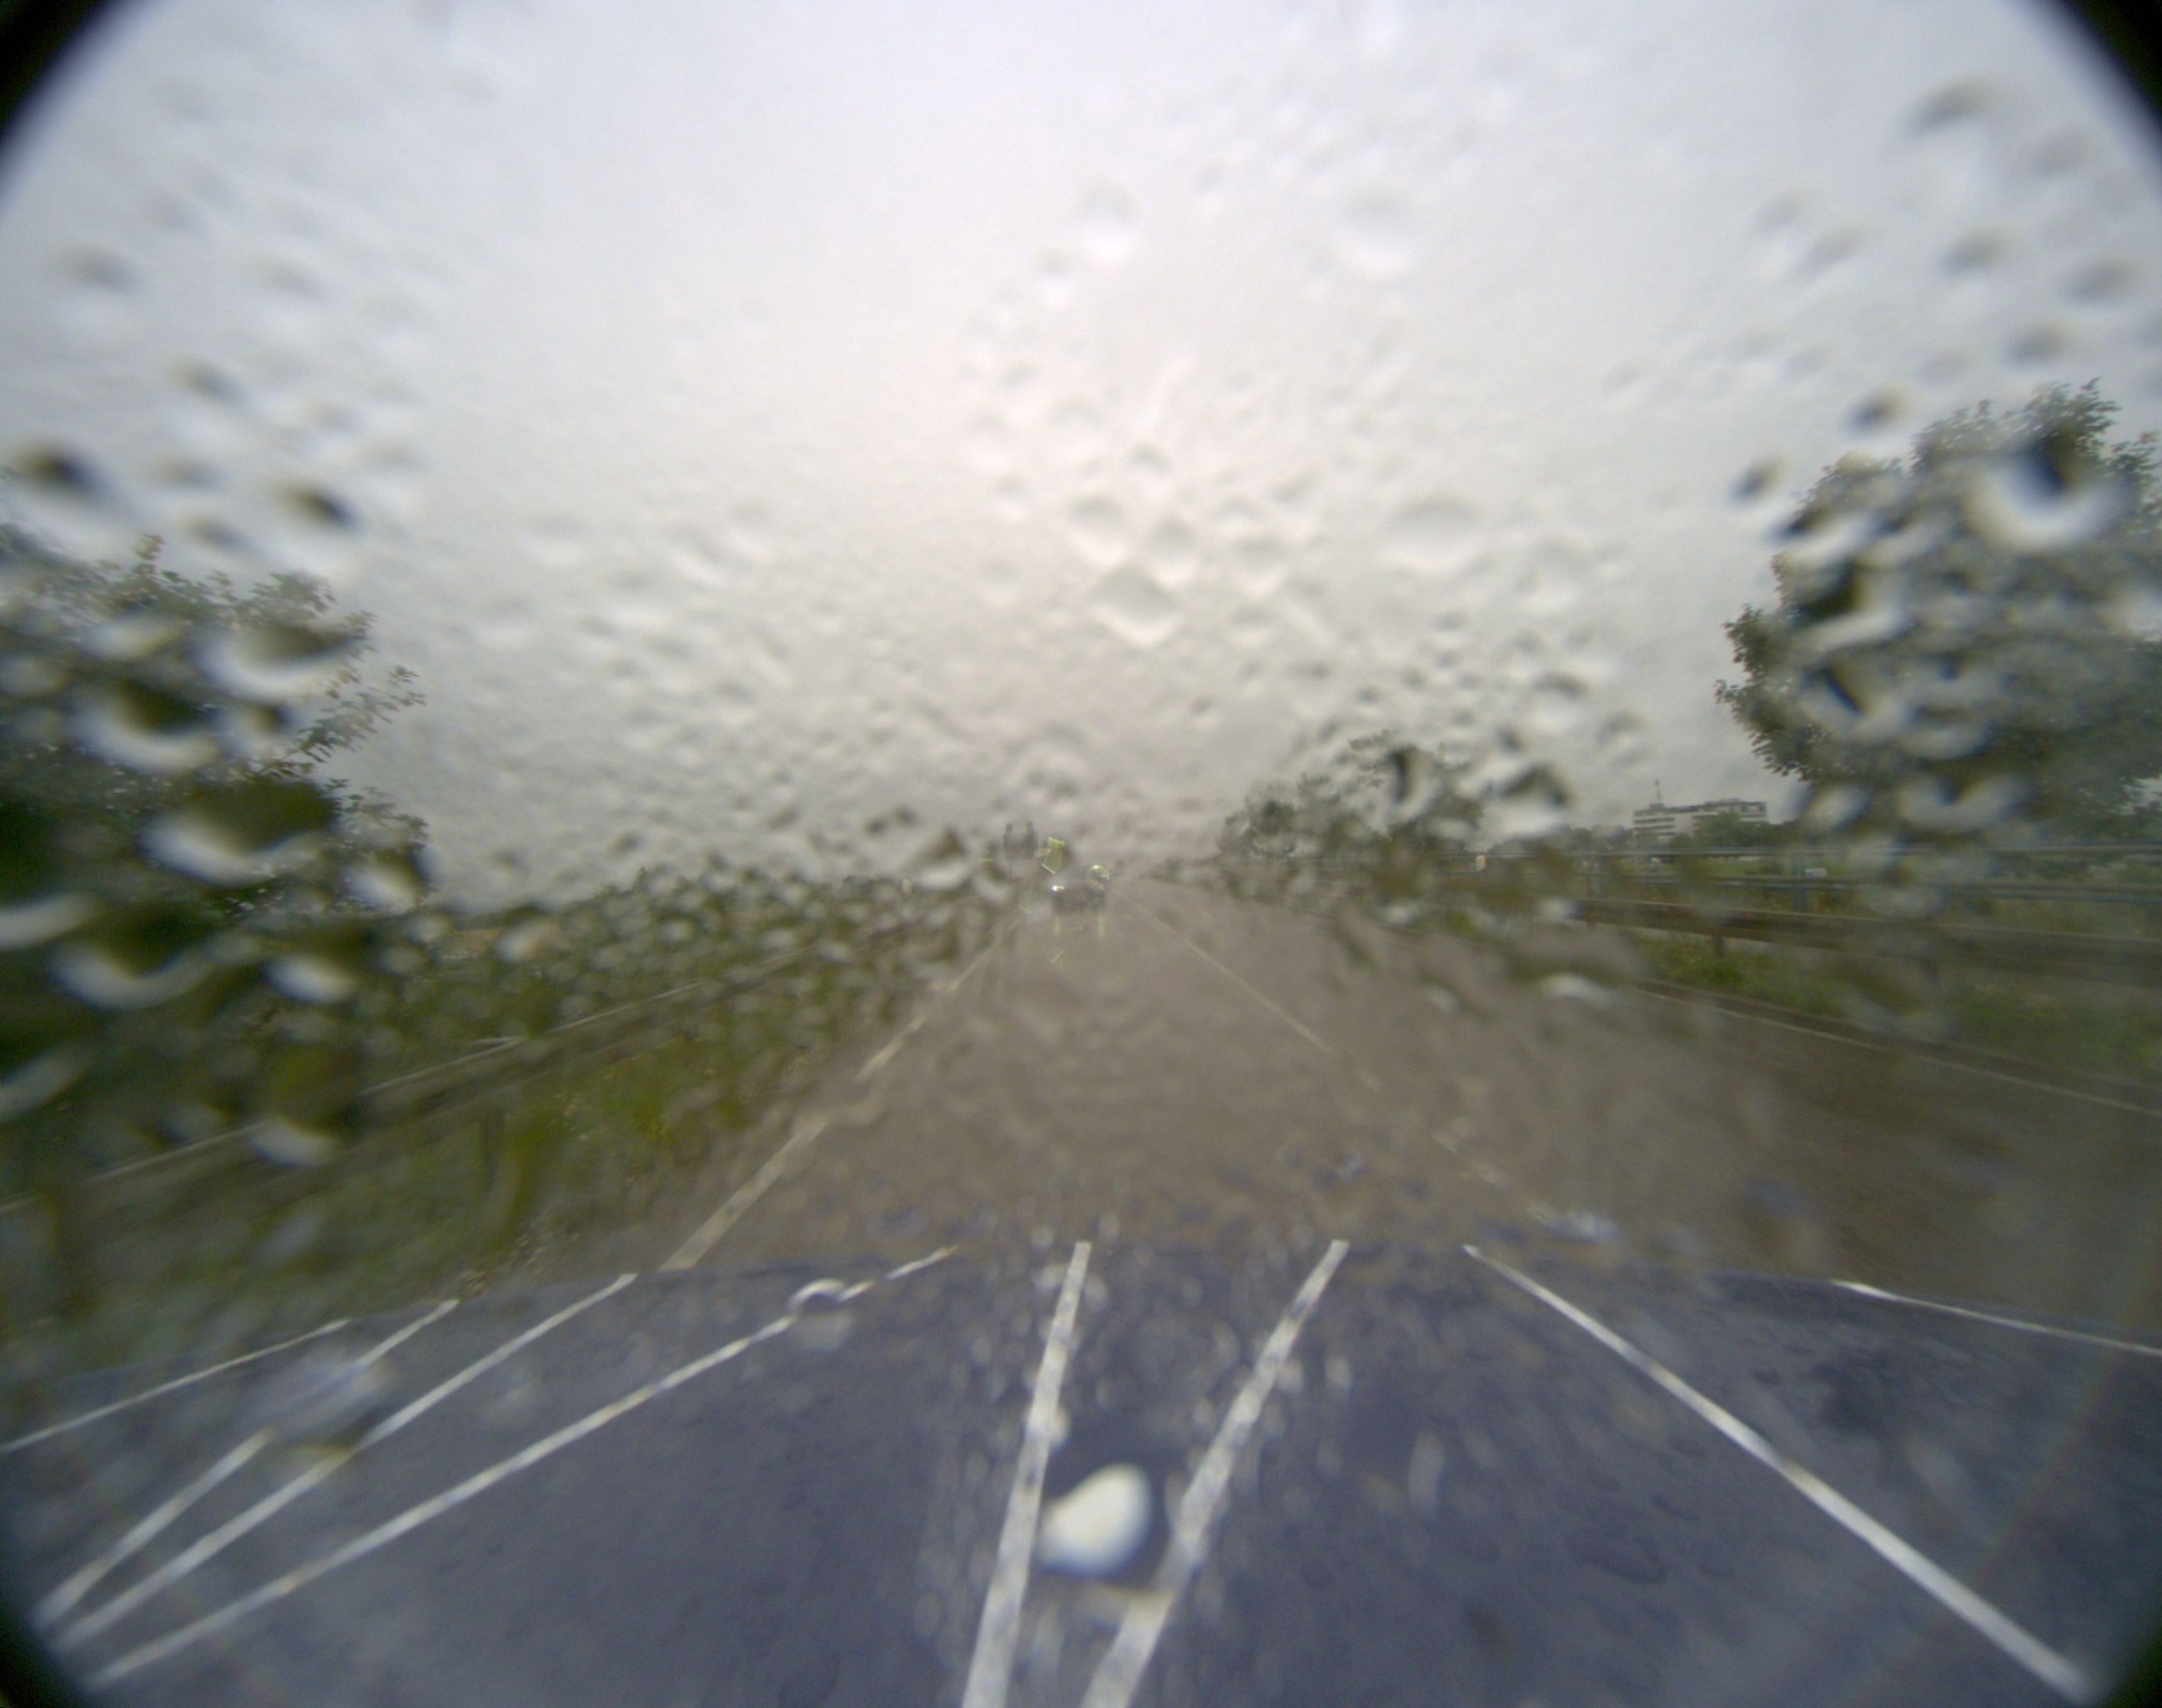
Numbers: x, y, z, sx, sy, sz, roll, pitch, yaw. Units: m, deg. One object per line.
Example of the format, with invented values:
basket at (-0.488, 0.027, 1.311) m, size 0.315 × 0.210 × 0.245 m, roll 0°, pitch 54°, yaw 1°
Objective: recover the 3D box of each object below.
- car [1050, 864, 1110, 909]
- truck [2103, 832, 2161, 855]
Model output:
car at (-0.028, 1.098, 26.865) m, size 1.909 × 1.361 × 4.565 m, roll -2°, pitch -1°, yaw 0°
truck at (196.411, -2.001, 140.899) m, size 11.528 × 3.922 × 3.350 m, roll -2°, pitch 0°, yaw -10°
